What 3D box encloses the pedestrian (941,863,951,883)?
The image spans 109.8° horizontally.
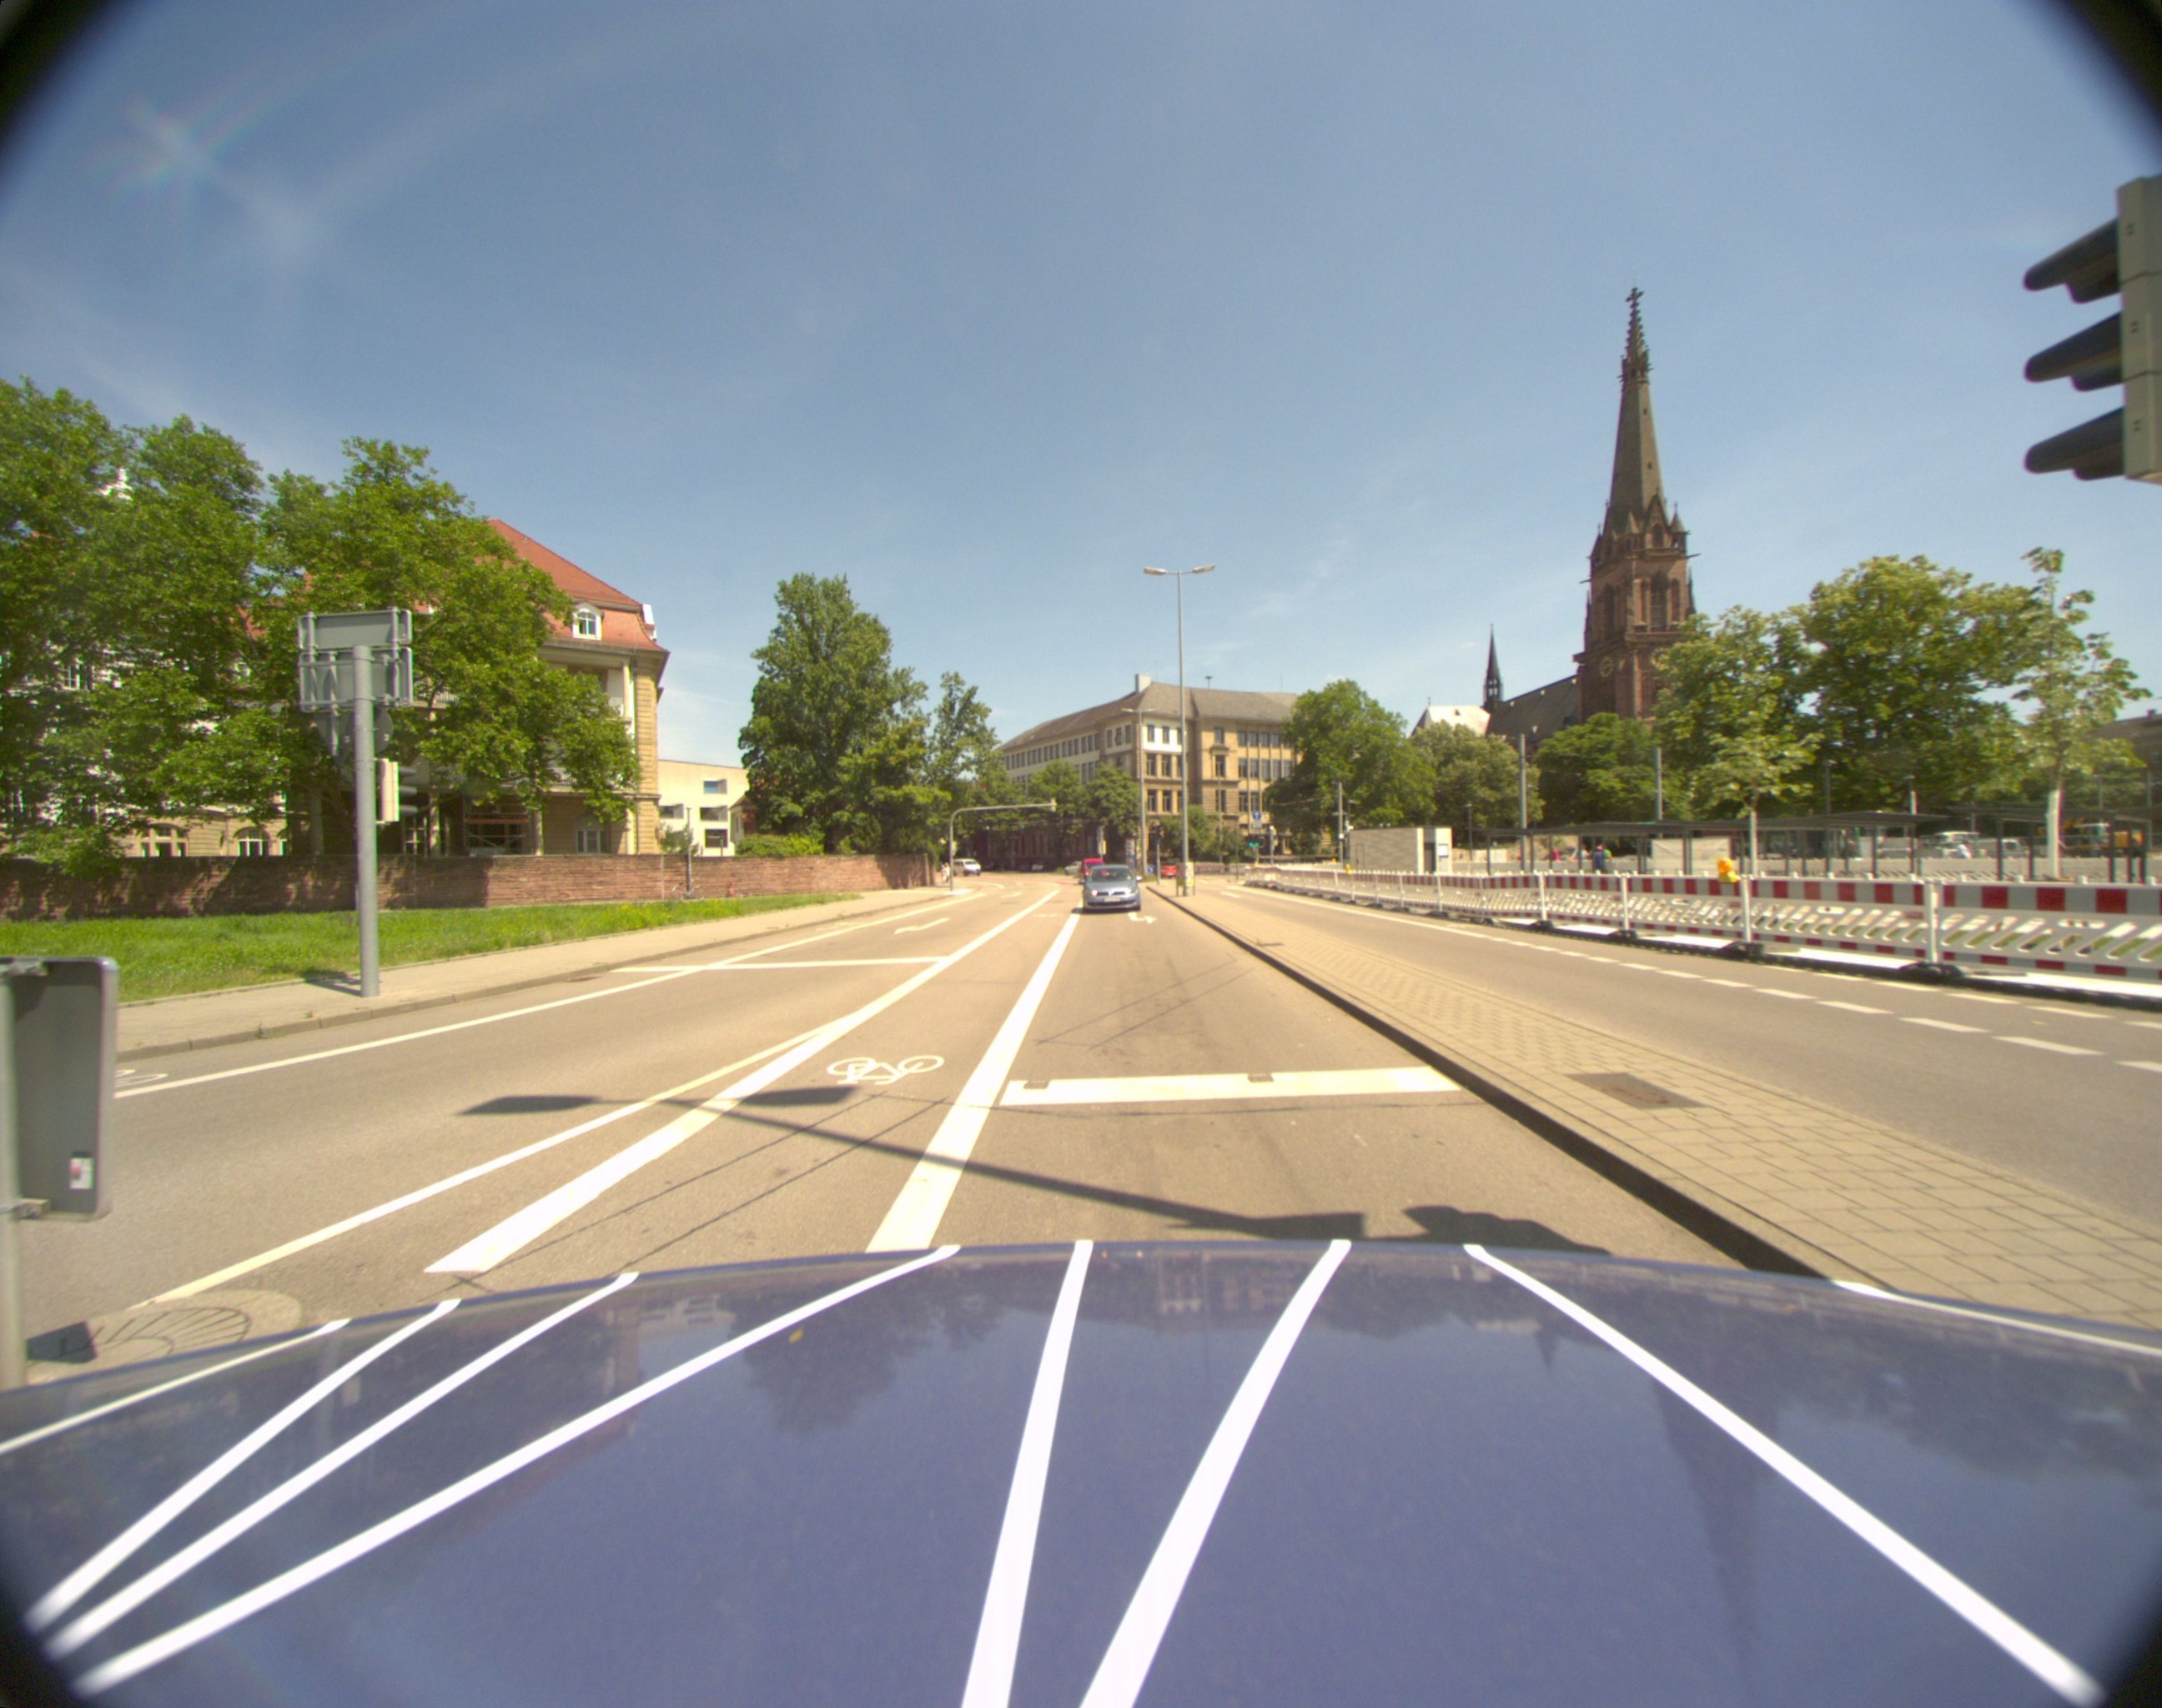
[{"bbox_3d":[-11.192,1.566,62.917,0.606,1.601,0.557,1,-2,-30],"label":"pedestrian"}]

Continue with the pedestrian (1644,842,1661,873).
[{"bbox_3d":[30.720,0.184,40.845,0.628,1.645,0.545,-4,1,-38],"label":"pedestrian"}]

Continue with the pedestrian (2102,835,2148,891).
[{"bbox_3d":[38.565,0.339,28.066,0.697,2.002,0.877,-4,1,-29],"label":"pedestrian"}]

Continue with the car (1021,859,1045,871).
[{"bbox_3d":[-6.733,1.573,106.657,1.567,1.454,3.156,-3,0,39],"label":"car"}]

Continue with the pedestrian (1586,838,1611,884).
[{"bbox_3d":[22.168,0.295,32.544,0.694,1.894,0.575,-4,1,-35],"label":"pedestrian"}]

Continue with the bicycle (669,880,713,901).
[{"bbox_3d":[-19.379,1.808,37.789,1.778,0.923,0.677,-4,1,-43],"label":"bicycle"}]

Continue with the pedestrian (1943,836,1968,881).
[{"bbox_3d":[36.995,0.180,32.146,0.700,1.847,0.605,-4,1,-38],"label":"pedestrian"}]

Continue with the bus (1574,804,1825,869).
[{"bbox_3d":[34.334,-0.821,42.926,2.859,3.035,10.579,-4,0,-32],"label":"bus"}]

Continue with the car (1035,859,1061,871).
[{"bbox_3d":[-4.548,1.457,104.630,1.567,1.412,3.559,-3,0,41],"label":"car"}]

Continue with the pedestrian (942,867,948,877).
[{"bbox_3d":[-22.085,2.890,123.388,0.725,1.661,0.643,-1,0,-28],"label":"pedestrian"}]

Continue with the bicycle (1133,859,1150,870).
[{"bbox_3d":[6.448,1.128,80.621,0.591,1.143,2.004,0,0,-37],"label":"bicycle"}]

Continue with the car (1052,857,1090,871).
[{"bbox_3d":[-1.118,1.054,81.877,1.825,1.420,4.415,0,0,-37],"label":"car"}]

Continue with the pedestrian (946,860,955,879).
[{"bbox_3d":[-11.189,1.341,65.308,0.606,1.601,0.557,1,-2,-30],"label":"pedestrian"}]

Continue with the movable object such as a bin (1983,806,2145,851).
[{"bbox_3d":[83.994,-2.099,65.211,2.910,3.369,7.966,-3,0,-14],"label":"movable object such as a bin"}]

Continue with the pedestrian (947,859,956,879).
[{"bbox_3d":[-11.493,1.342,67.498,0.606,1.702,0.557,1,-2,-31],"label":"pedestrian"}]

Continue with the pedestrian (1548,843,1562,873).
[{"bbox_3d":[27.192,0.244,43.571,0.564,1.691,0.582,-3,1,38],"label":"pedestrian"}]

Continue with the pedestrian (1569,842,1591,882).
[{"bbox_3d":[22.367,0.363,34.075,0.542,1.746,0.657,-4,1,-43],"label":"pedestrian"}]

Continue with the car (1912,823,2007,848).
[{"bbox_3d":[64.959,-1.332,56.271,1.783,1.593,4.240,-3,0,-12],"label":"car"}]

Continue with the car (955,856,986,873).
[{"bbox_3d":[-13.141,1.271,90.059,1.712,1.852,4.250,-4,0,-37],"label":"car"}]

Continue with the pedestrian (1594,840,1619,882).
[{"bbox_3d":[23.071,0.319,33.352,0.646,1.778,0.636,-4,1,-34],"label":"pedestrian"}]

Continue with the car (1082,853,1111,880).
[{"bbox_3d":[1.067,0.854,53.981,1.832,1.756,4.278,-3,0,-1],"label":"car"}]

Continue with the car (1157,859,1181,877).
[{"bbox_3d":[7.389,1.143,64.153,1.692,1.370,4.014,1,0,2],"label":"car"}]

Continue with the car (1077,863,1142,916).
[{"bbox_3d":[0.882,1.042,23.557,1.832,1.406,3.994,-1,0,2],"label":"car"}]
